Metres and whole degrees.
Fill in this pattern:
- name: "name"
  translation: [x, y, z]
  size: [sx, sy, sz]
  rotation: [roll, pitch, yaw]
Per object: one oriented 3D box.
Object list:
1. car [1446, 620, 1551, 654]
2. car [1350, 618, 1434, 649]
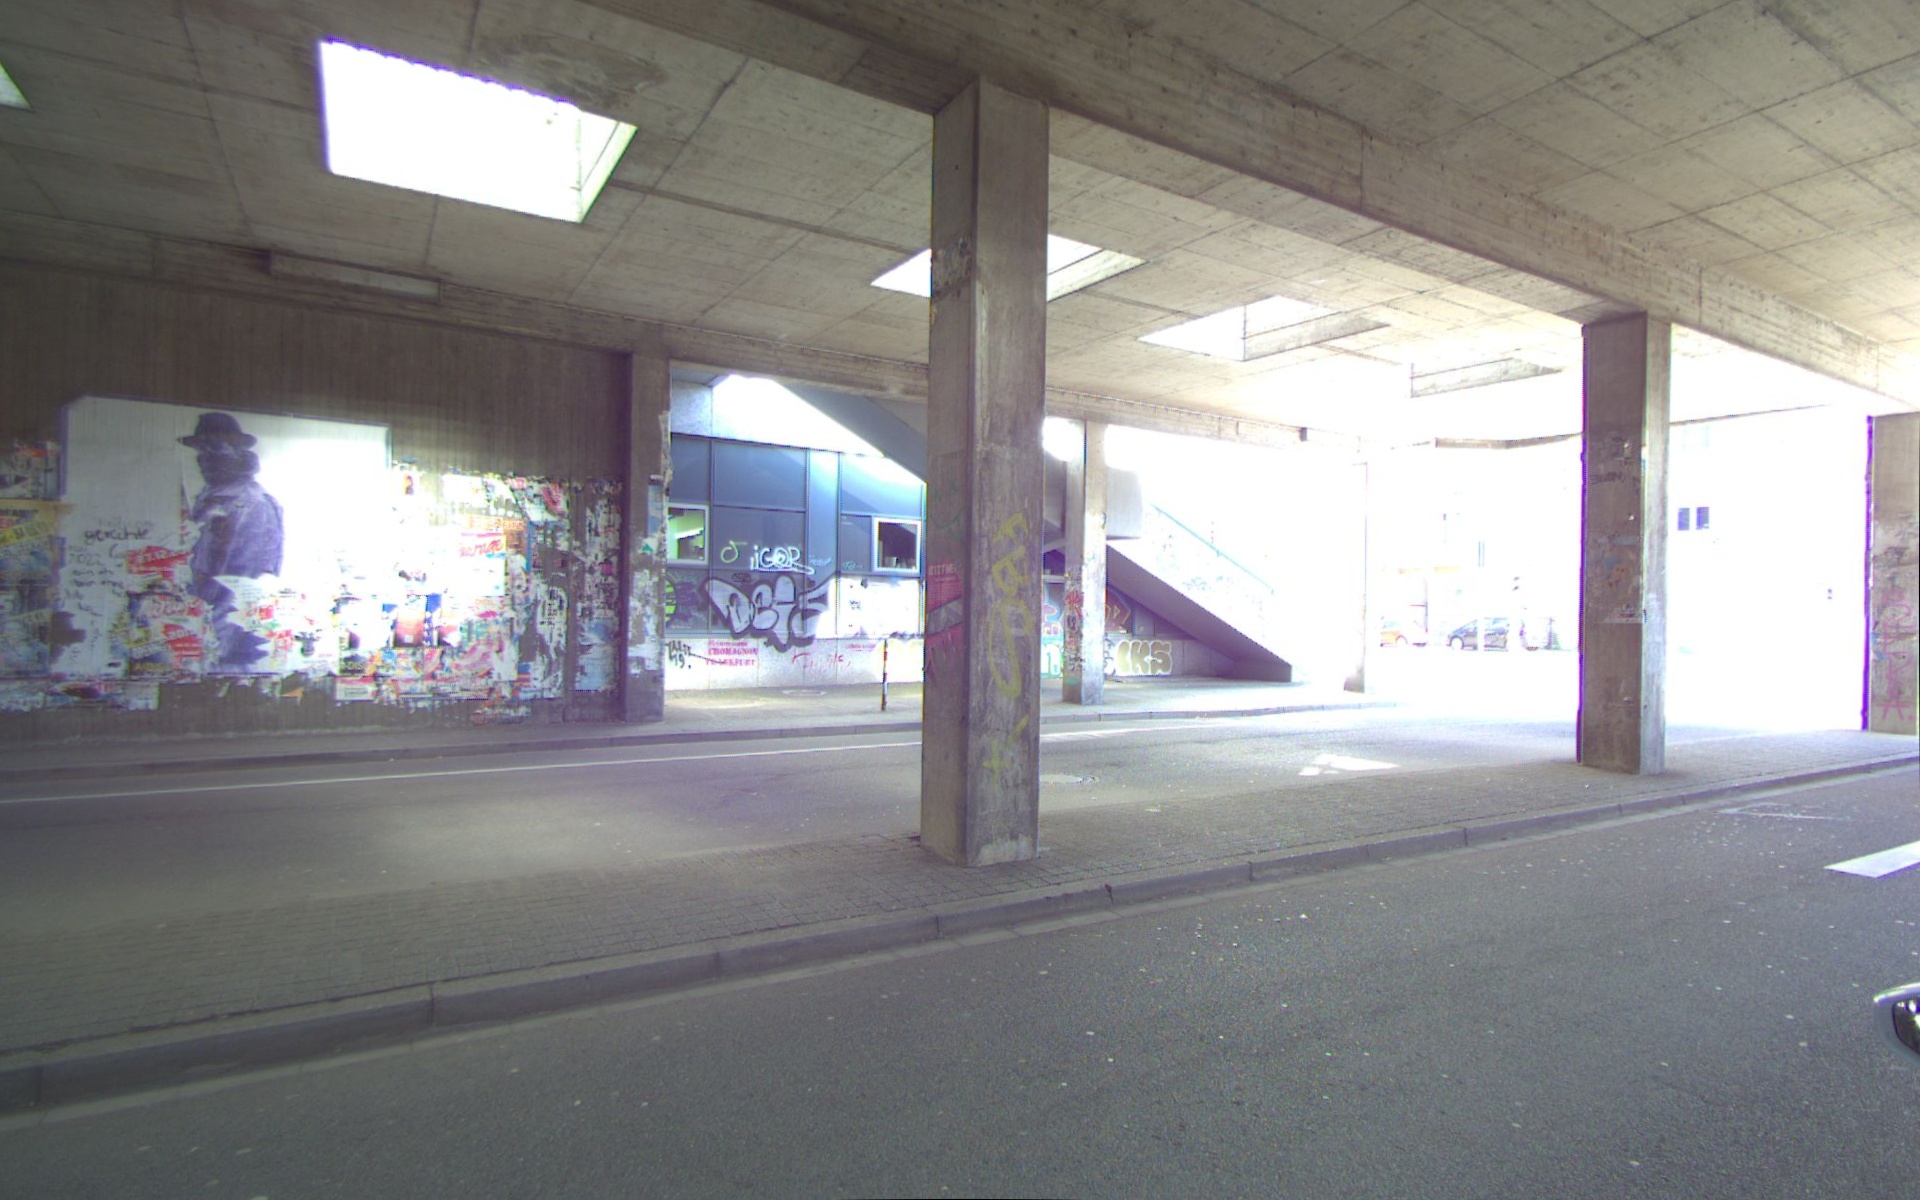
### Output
- name: "car"
  translation: [25.474, 1.720, 47.656]
  size: [1.718, 1.495, 4.089]
  rotation: [2, -1, -31]
- name: "car"
  translation: [22.562, 1.741, 52.611]
  size: [1.730, 1.495, 3.741]
  rotation: [2, -1, -31]
